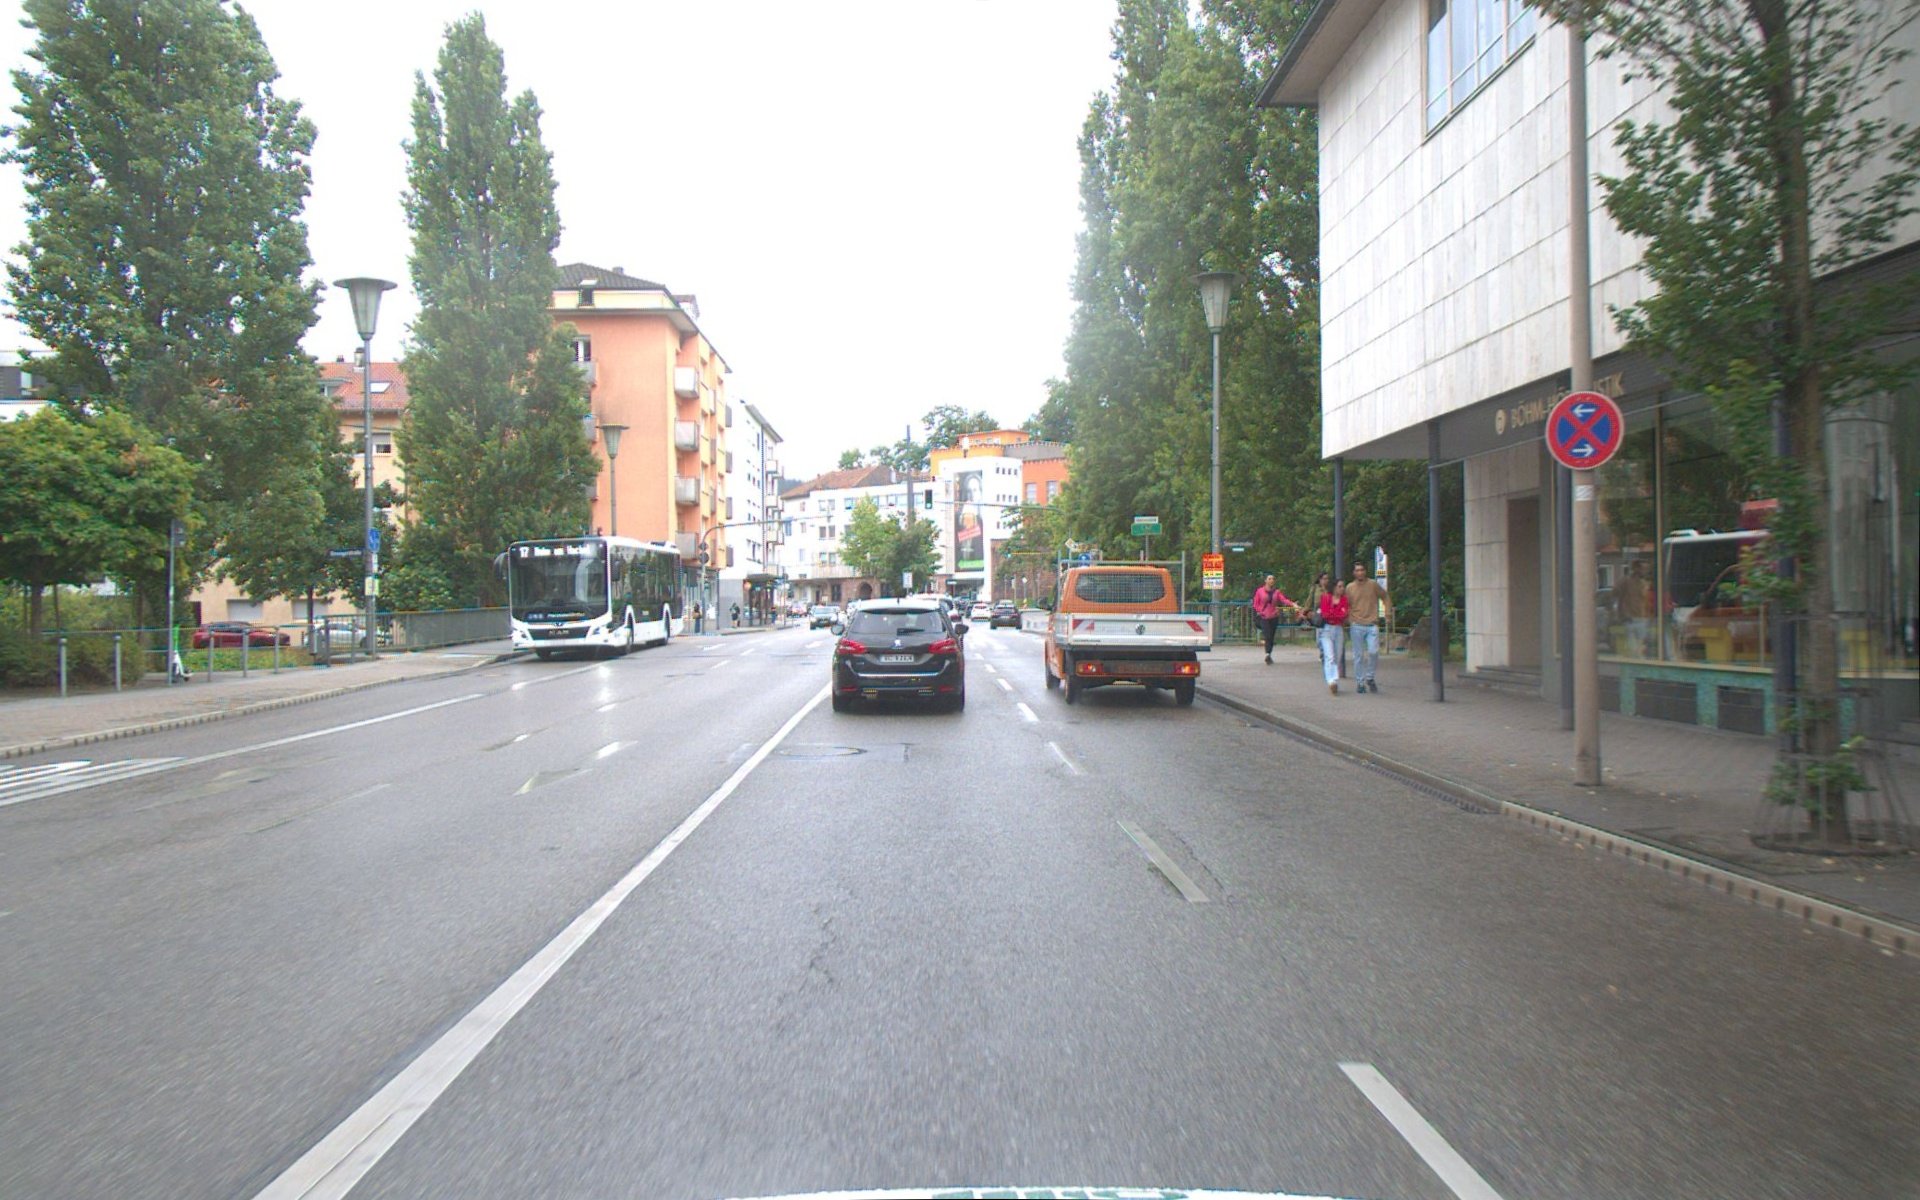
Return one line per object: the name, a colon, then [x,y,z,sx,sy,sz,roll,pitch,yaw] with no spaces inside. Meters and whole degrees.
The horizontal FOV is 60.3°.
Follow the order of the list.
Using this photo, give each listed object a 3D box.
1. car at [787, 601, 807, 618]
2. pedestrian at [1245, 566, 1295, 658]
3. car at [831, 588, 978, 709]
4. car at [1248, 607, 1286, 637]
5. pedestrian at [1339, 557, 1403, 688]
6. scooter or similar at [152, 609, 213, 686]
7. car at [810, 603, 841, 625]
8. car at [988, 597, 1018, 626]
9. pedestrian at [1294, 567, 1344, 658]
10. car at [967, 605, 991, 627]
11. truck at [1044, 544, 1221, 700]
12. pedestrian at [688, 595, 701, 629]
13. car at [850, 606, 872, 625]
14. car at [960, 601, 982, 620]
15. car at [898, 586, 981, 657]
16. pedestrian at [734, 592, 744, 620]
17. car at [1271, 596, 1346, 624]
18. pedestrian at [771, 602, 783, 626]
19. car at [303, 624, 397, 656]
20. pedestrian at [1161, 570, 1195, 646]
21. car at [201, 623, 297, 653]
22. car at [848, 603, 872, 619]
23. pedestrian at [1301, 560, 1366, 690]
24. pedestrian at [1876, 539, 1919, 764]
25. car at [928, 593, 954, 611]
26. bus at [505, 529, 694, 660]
car: [-17.483,1.035,177.242,1.956,1.713,3.993,-1,0,-8]
pedestrian: [5.747,0.221,30.669,0.702,1.648,0.769,-2,0,-2]
car: [-0.677,0.633,22.741,1.757,1.509,4.001,1,-1,2]
car: [22.479,1.598,121.346,1.865,2.049,3.723,2,-2,-3]
pedestrian: [5.866,0.316,23.653,0.684,1.833,0.606,-2,0,-2]
scooter or similar: [-14.647,0.883,31.199,0.472,1.336,1.570,-1,2,-5]
car: [-8.638,0.875,106.698,1.755,1.348,4.405,-1,0,-2]
car: [2.591,0.722,100.657,1.611,1.592,3.598,2,-2,-1]
pedestrian: [6.586,0.227,30.319,0.711,1.617,0.606,-2,0,-2]
car: [1.648,1.332,142.590,1.953,1.853,3.999,0,0,-1]
truck: [2.420,0.292,24.428,2.078,2.061,4.715,1,0,-1]
pedestrian: [-13.683,0.632,85.355,0.519,1.757,0.649,-1,0,2]
car: [-7.890,1.207,132.162,1.631,1.424,3.875,-2,0,-2]
car: [0.993,0.955,152.770,1.613,1.592,3.595,2,-2,-6]
car: [-0.429,0.480,38.233,1.758,1.509,4.000,-1,0,1]
pedestrian: [-15.054,0.425,112.489,0.626,1.893,0.523,0,0,-3]
car: [21.038,0.599,99.872,4.040,1.649,1.804,-1,0,-5]
pedestrian: [-15.682,1.188,141.462,0.720,2.049,0.650,3,-3,-34]
car: [-30.304,1.989,82.259,3.906,1.412,1.899,-2,0,-1]
pedestrian: [4.970,0.173,37.755,0.627,1.693,0.563,-2,1,-2]
car: [-35.208,1.873,82.002,3.905,1.412,1.899,-1,0,-1]
car: [-9.684,1.048,160.368,1.636,1.424,3.863,-2,0,-14]
pedestrian: [5.342,0.355,23.699,0.640,1.798,0.922,-2,0,-1]
pedestrian: [7.670,0.393,13.107,0.525,1.749,0.535,-1,0,7]
car: [-1.905,0.202,164.896,1.958,1.713,3.990,-1,0,-10]
bus: [-9.753,-0.293,46.349,2.688,3.129,12.236,-1,1,-1]
